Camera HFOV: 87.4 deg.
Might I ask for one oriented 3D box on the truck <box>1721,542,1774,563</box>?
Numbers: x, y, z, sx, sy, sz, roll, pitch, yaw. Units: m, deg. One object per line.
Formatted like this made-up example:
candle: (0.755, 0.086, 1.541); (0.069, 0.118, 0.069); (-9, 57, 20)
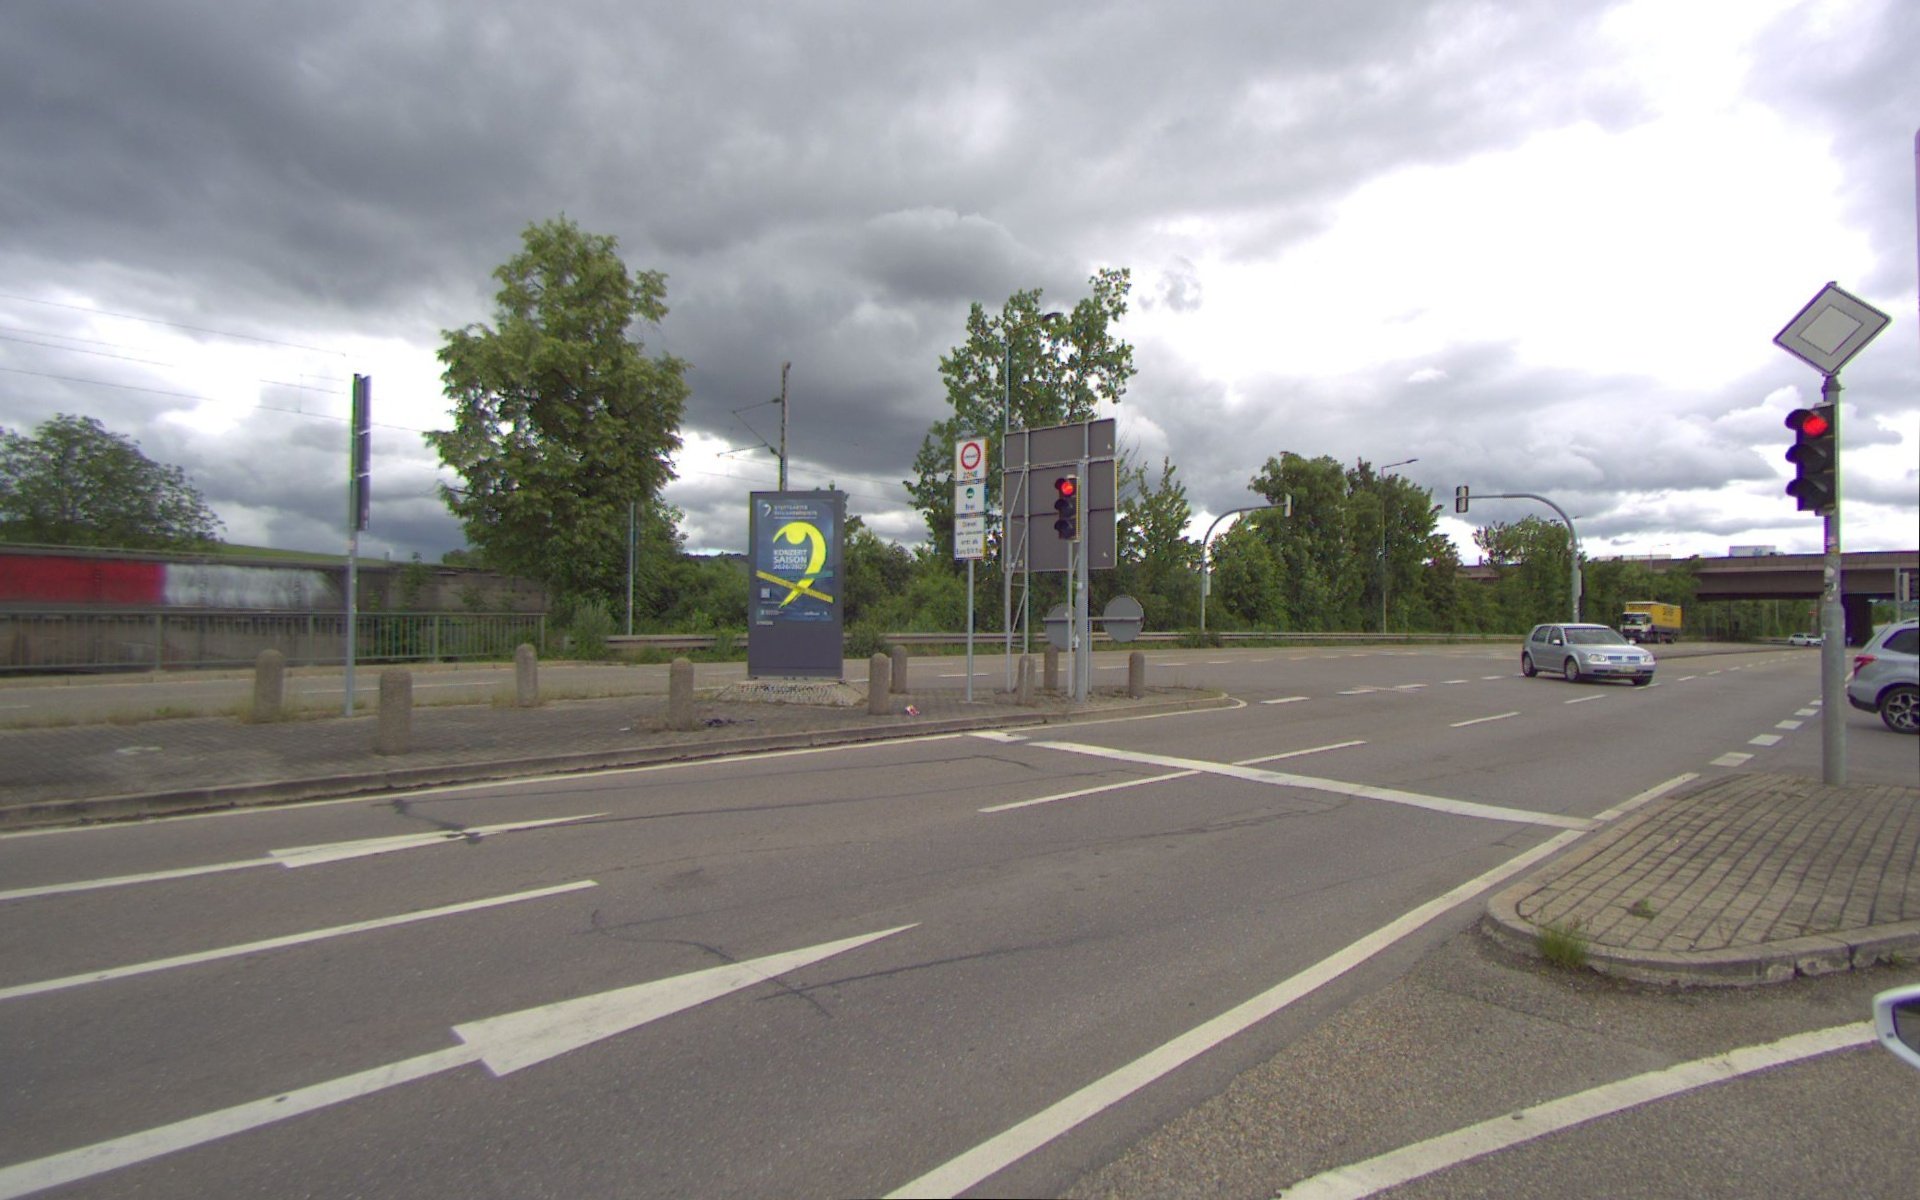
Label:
truck: (101.404, -6.090, 129.403); (1.972, 2.352, 5.047); (1, 0, -24)

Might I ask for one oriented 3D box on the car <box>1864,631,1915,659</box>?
car: (53.797, 2.618, 58.114); (1.973, 1.461, 4.085); (1, -2, 45)

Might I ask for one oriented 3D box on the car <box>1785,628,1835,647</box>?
car: (99.104, 4.326, 117.184); (1.970, 1.885, 3.980); (2, 2, -20)

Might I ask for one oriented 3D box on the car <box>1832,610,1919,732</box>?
car: (14.978, 1.005, 13.632); (1.702, 1.760, 4.539); (0, -1, -17)

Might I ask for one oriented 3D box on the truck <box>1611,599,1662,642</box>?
truck: (68.838, 2.036, 102.170); (6.443, 4.139, 2.843); (1, 1, -44)

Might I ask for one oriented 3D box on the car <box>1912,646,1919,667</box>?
car: (70.675, 4.180, 72.997); (4.083, 1.483, 1.974); (4, -2, -44)

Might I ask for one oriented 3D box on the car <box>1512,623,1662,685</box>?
car: (15.669, 1.302, 25.373); (1.695, 1.419, 4.069); (0, -1, 8)

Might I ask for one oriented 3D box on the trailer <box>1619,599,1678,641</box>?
trailer: (72.691, 2.129, 105.908); (11.349, 4.139, 2.843); (1, 1, -44)
